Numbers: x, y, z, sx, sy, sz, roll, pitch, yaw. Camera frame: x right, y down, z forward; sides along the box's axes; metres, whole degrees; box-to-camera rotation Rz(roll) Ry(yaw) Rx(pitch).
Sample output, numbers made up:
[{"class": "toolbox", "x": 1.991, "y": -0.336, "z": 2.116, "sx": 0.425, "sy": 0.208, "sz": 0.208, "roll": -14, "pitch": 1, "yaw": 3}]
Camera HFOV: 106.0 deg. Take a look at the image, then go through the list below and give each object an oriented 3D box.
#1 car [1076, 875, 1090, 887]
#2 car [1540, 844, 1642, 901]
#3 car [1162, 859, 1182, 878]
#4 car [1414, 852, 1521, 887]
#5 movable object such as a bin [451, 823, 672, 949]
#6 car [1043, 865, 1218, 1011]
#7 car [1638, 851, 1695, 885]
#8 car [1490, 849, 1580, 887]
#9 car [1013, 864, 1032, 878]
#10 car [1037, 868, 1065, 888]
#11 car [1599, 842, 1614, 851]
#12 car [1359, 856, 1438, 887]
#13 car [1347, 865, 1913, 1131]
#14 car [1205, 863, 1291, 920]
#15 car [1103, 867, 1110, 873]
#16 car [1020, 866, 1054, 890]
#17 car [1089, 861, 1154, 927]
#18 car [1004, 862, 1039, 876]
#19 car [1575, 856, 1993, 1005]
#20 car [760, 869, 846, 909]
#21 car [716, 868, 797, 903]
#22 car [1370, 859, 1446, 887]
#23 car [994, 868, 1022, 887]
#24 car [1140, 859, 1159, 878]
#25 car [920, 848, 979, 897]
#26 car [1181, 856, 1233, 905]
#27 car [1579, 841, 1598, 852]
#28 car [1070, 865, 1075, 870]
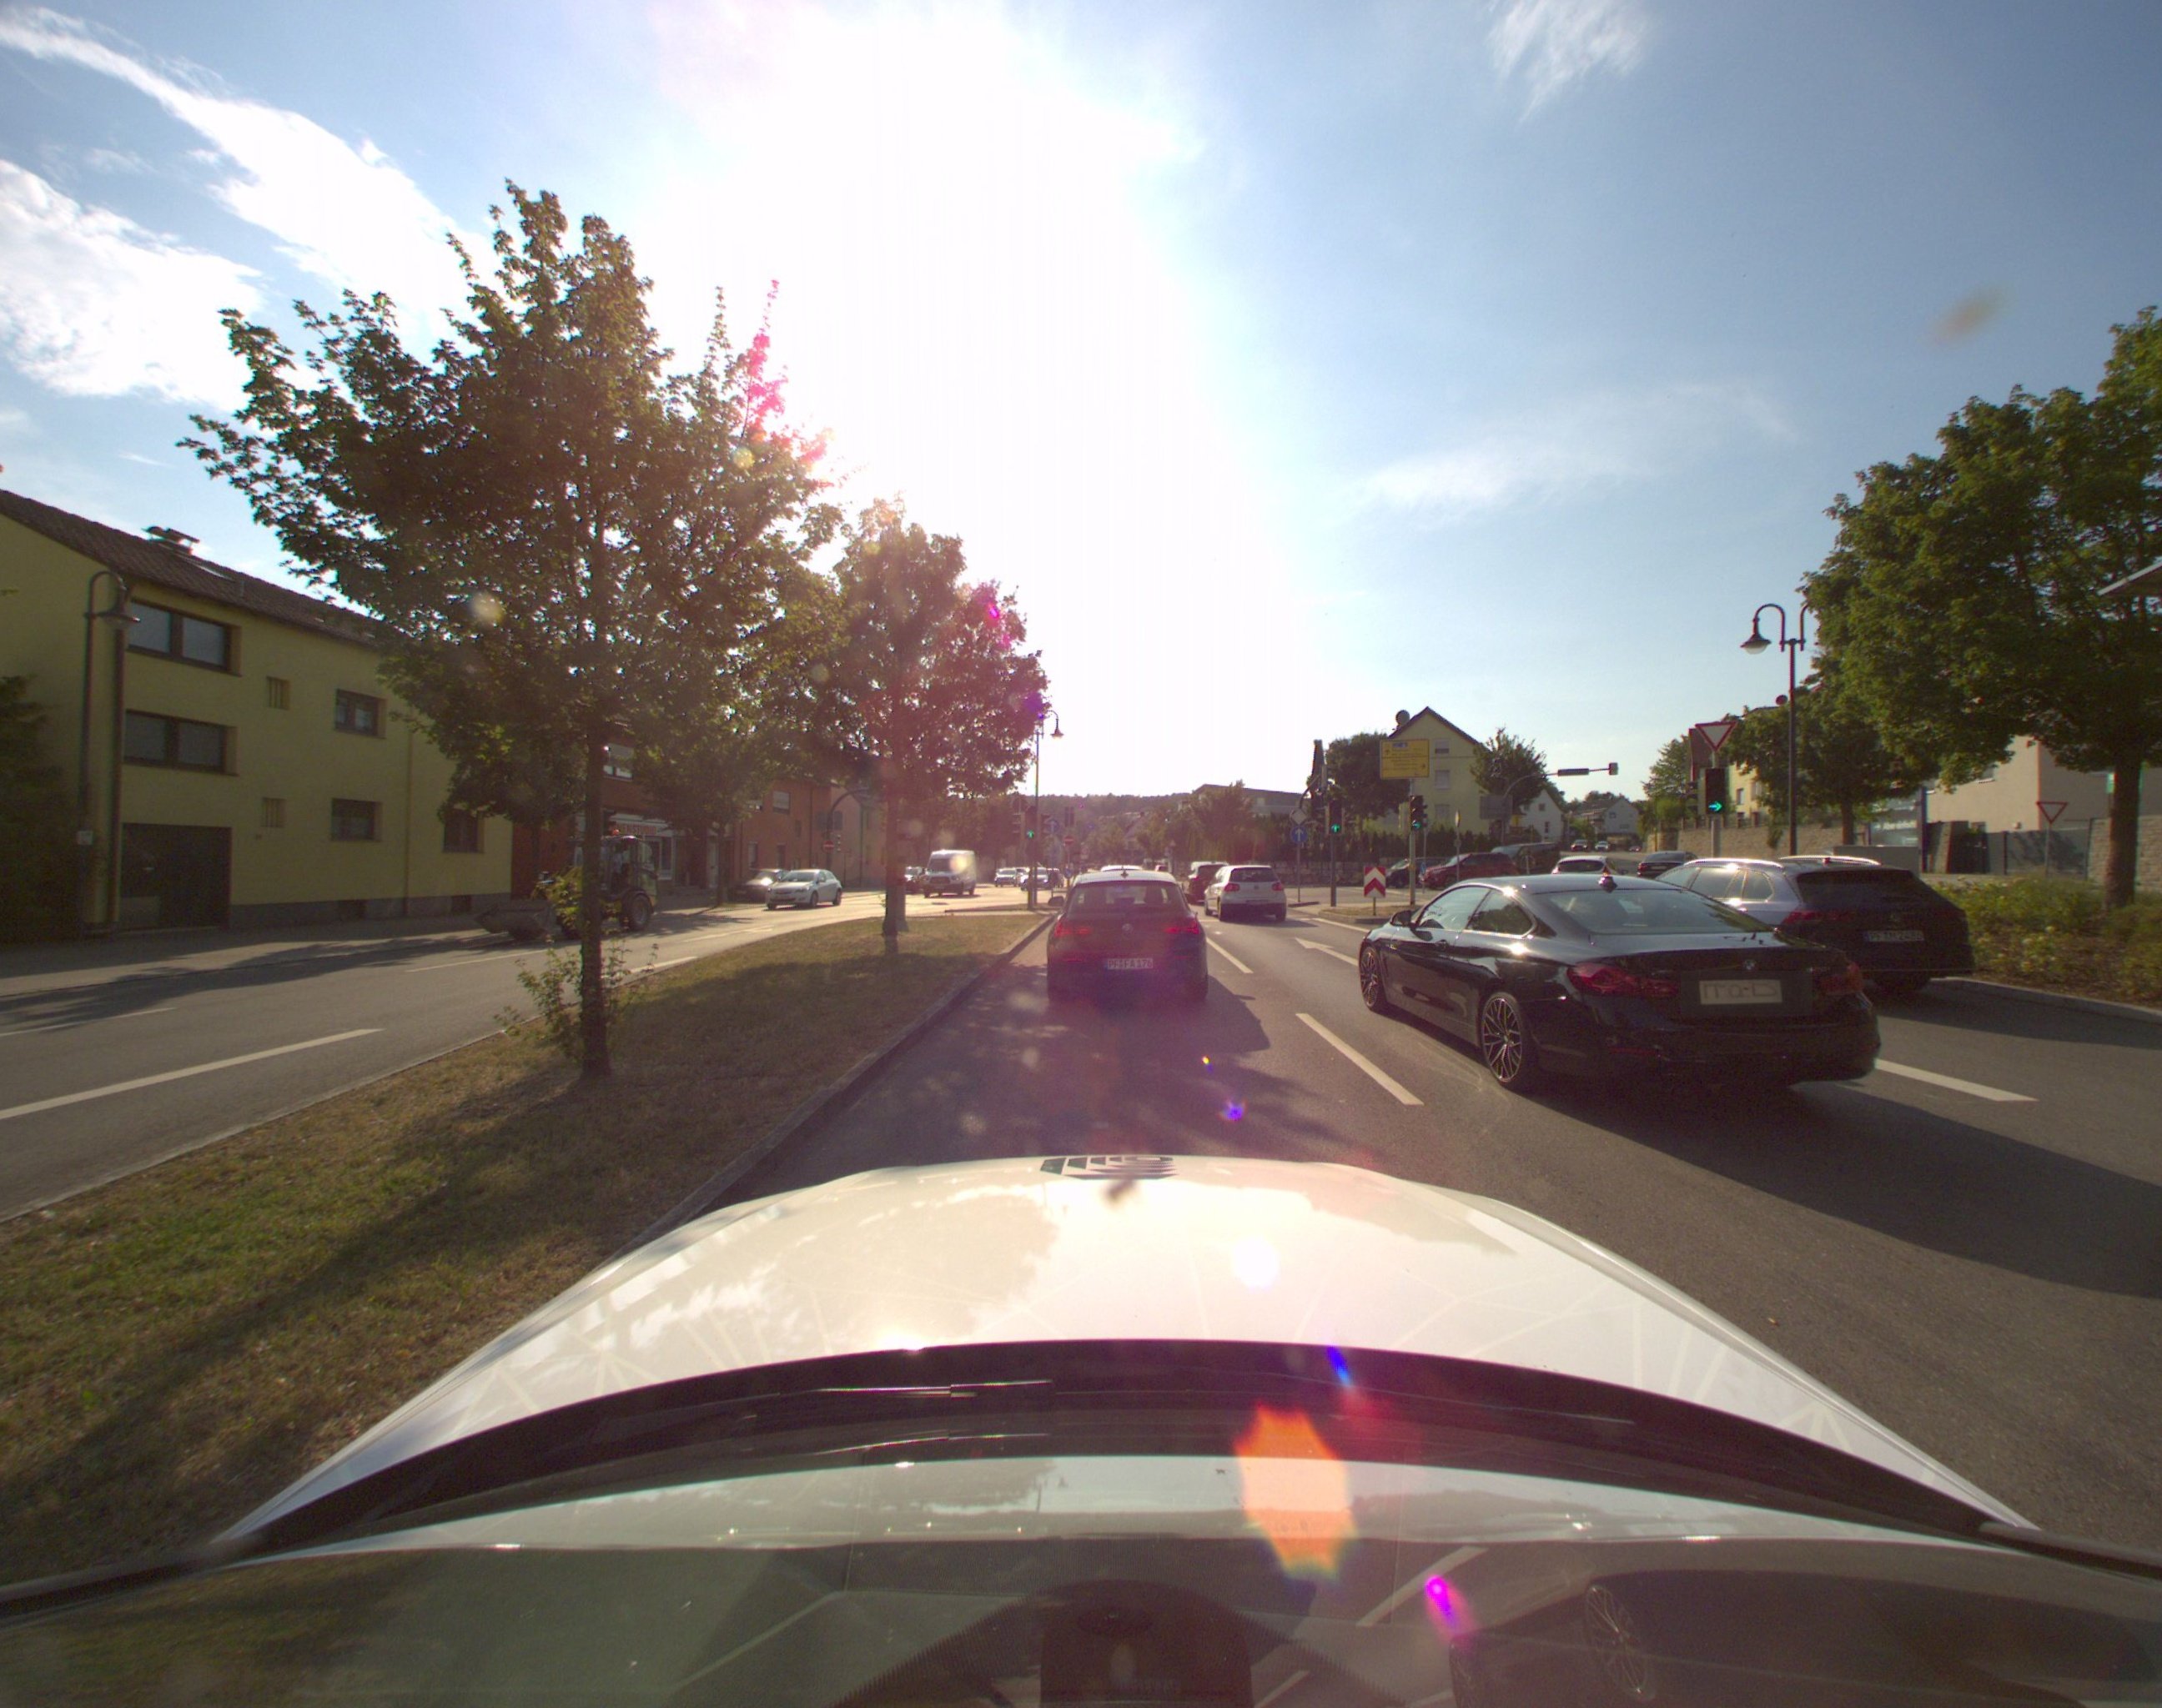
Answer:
[{"class": "car", "x": 0.237, "y": 3.253, "z": 98.758, "sx": 1.526, "sy": 1.462, "sz": 3.509, "roll": -1, "pitch": -1, "yaw": 3}, {"class": "car", "x": 14.924, "y": 0.508, "z": 23.731, "sx": 1.844, "sy": 1.494, "sz": 4.024, "roll": -1, "pitch": -1, "yaw": 42}, {"class": "car", "x": 13.471, "y": 2.162, "z": 121.184, "sx": 2.105, "sy": 2.722, "sz": 6.439, "roll": 0, "pitch": -1, "yaw": -1}, {"class": "car", "x": 18.364, "y": 0.727, "z": 38.798, "sx": 4.230, "sy": 1.626, "sz": 1.859, "roll": 0, "pitch": -1, "yaw": -4}, {"class": "movable object such as a bin", "x": -11.457, "y": 0.645, "z": 18.485, "sx": 1.546, "sy": 2.462, "sz": 4.983, "roll": 0, "pitch": -1, "yaw": 4}, {"class": "car", "x": 0.558, "y": 0.879, "z": 10.013, "sx": 1.765, "sy": 1.456, "sz": 3.517, "roll": 0, "pitch": -1, "yaw": 2}, {"class": "car", "x": 24.412, "y": 0.556, "z": 33.992, "sx": 1.794, "sy": 1.344, "sz": 4.025, "roll": -1, "pitch": -1, "yaw": 36}, {"class": "car", "x": 24.474, "y": 0.721, "z": 43.865, "sx": 5.197, "sy": 1.932, "sz": 1.980, "roll": 0, "pitch": -1, "yaw": -32}, {"class": "car", "x": -6.677, "y": 1.925, "z": 93.018, "sx": 1.679, "sy": 1.612, "sz": 4.415, "roll": -1, "pitch": -1, "yaw": 2}, {"class": "car", "x": -2.177, "y": 1.747, "z": 59.248, "sx": 1.582, "sy": 1.427, "sz": 3.582, "roll": -1, "pitch": -1, "yaw": 5}, {"class": "car", "x": 80.168, "y": -1.153, "z": 124.236, "sx": 1.794, "sy": 1.344, "sz": 4.025, "roll": -1, "pitch": -1, "yaw": 36}, {"class": "car", "x": 16.325, "y": 0.890, "z": 41.988, "sx": 3.755, "sy": 1.542, "sz": 1.606, "roll": 0, "pitch": -1, "yaw": 20}, {"class": "car", "x": 3.618, "y": 0.796, "z": 6.476, "sx": 1.693, "sy": 1.369, "sz": 4.263, "roll": -1, "pitch": -1, "yaw": 1}, {"class": "car", "x": 4.468, "y": 0.973, "z": 22.220, "sx": 1.747, "sy": 1.414, "sz": 3.423, "roll": 0, "pitch": -1, "yaw": 2}, {"class": "car", "x": 6.778, "y": 4.201, "z": 215.796, "sx": 1.592, "sy": 1.485, "sz": 3.473, "roll": 0, "pitch": -1, "yaw": -1}, {"class": "car", "x": -2.886, "y": 1.576, "z": 53.976, "sx": 1.828, "sy": 1.488, "sz": 4.568, "roll": -1, "pitch": -1, "yaw": 2}, {"class": "car", "x": 1.074, "y": 1.012, "z": 22.146, "sx": 1.586, "sy": 1.600, "sz": 3.894, "roll": 0, "pitch": -1, "yaw": 2}, {"class": "car", "x": -10.978, "y": 2.815, "z": 150.884, "sx": 6.138, "sy": 2.445, "sz": 2.249, "roll": 0, "pitch": -1, "yaw": 0}, {"class": "car", "x": 8.001, "y": 0.753, "z": 9.922, "sx": 1.622, "sy": 1.410, "sz": 4.283, "roll": -1, "pitch": -1, "yaw": 4}, {"class": "car", "x": -10.762, "y": 1.317, "z": 31.834, "sx": 1.684, "sy": 1.414, "sz": 4.217, "roll": -1, "pitch": -1, "yaw": 3}, {"class": "car", "x": -14.257, "y": 1.359, "z": 35.988, "sx": 1.788, "sy": 1.414, "sz": 3.945, "roll": 0, "pitch": -1, "yaw": 3}, {"class": "car", "x": 18.490, "y": 1.074, "z": 46.124, "sx": 3.589, "sy": 1.450, "sz": 1.625, "roll": -2, "pitch": -2, "yaw": -2}, {"class": "car", "x": -5.875, "y": 1.886, "z": 65.908, "sx": 1.750, "sy": 1.411, "sz": 4.001, "roll": 0, "pitch": -1, "yaw": 2}, {"class": "car", "x": 10.193, "y": 2.108, "z": 120.935, "sx": 2.143, "sy": 2.681, "sz": 6.600, "roll": 0, "pitch": -1, "yaw": -1}, {"class": "car", "x": -7.014, "y": 0.945, "z": 43.997, "sx": 2.076, "sy": 2.476, "sz": 5.481, "roll": -1, "pitch": -1, "yaw": 2}, {"class": "car", "x": 4.783, "y": 0.970, "z": 31.215, "sx": 1.596, "sy": 1.767, "sz": 3.413, "roll": -1, "pitch": -1, "yaw": 3}, {"class": "car", "x": 64.166, "y": -0.957, "z": 102.961, "sx": 1.794, "sy": 1.344, "sz": 4.025, "roll": -1, "pitch": -1, "yaw": 36}, {"class": "car", "x": -2.413, "y": 3.872, "z": 229.208, "sx": 1.592, "sy": 1.485, "sz": 3.473, "roll": 0, "pitch": -1, "yaw": -1}]
